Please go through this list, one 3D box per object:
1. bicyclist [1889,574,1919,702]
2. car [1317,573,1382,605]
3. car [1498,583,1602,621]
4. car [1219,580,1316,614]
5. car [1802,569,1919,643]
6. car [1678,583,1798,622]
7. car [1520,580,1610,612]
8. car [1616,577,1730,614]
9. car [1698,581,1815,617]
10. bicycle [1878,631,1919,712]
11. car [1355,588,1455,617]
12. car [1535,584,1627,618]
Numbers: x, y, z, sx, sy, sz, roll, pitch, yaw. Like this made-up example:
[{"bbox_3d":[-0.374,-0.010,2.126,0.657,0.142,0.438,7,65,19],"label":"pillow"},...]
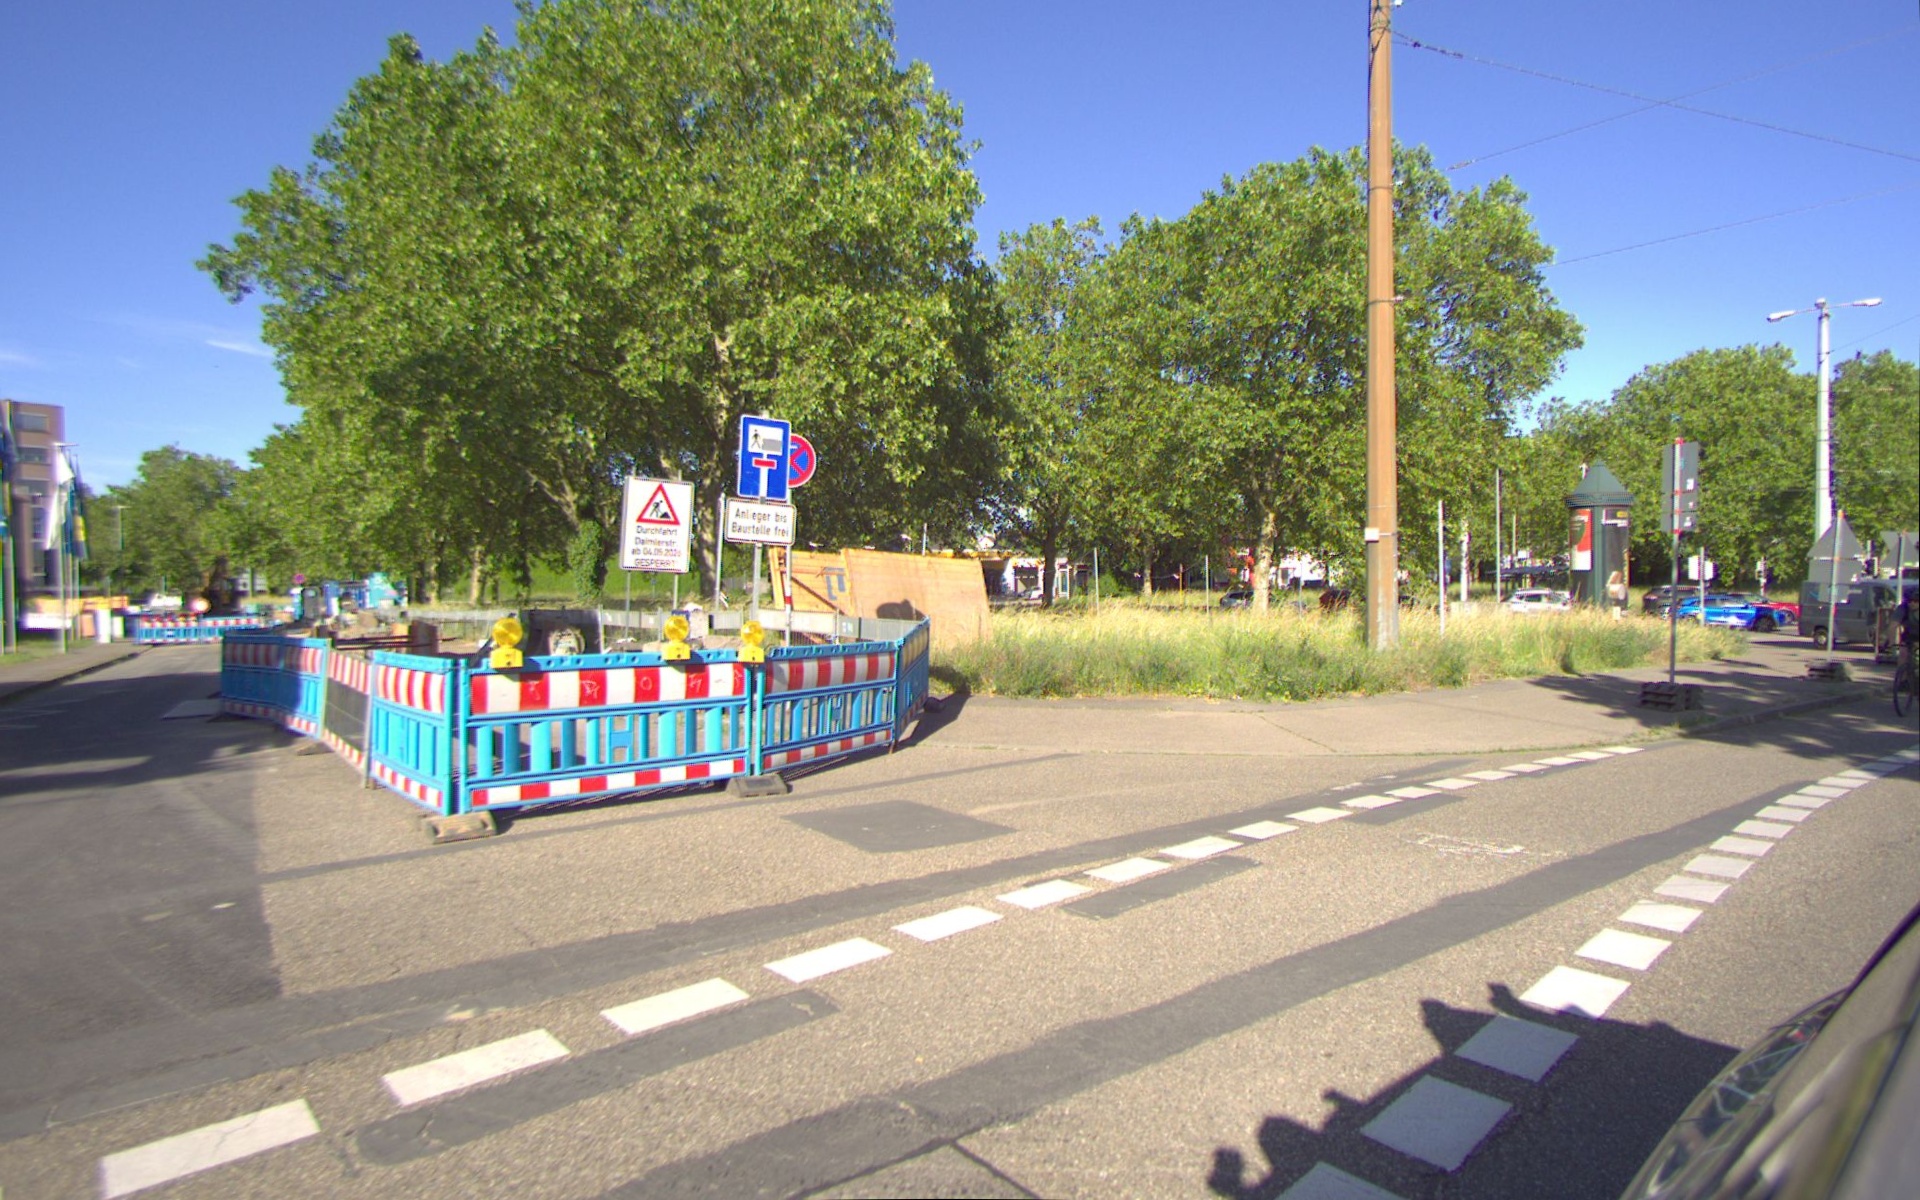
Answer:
[{"bbox_3d":[13.176,0.500,13.742,0.915,1.700,0.617,-1,2,-35],"label":"bicyclist"},{"bbox_3d":[21.341,-0.625,55.398,3.180,1.635,1.360,1,5,29],"label":"car"},{"bbox_3d":[27.617,0.075,47.513,4.137,1.699,1.915,1,1,29],"label":"car"},{"bbox_3d":[16.650,-0.173,54.907,4.734,1.703,1.890,-1,1,30],"label":"car"},{"bbox_3d":[28.237,0.118,30.161,2.091,2.096,5.118,0,1,2],"label":"car"},{"bbox_3d":[33.475,0.099,43.679,3.822,1.620,1.697,0,1,27],"label":"car"},{"bbox_3d":[31.647,-0.229,53.047,3.965,1.638,1.979,1,1,30],"label":"car"},{"bbox_3d":[35.749,-0.269,50.880,4.455,1.732,1.902,1,2,29],"label":"car"},{"bbox_3d":[36.603,-0.064,46.665,4.059,1.620,1.795,0,1,33],"label":"car"},{"bbox_3d":[13.014,0.931,13.591,2.049,0.934,0.526,-2,2,-34],"label":"bicycle"},{"bbox_3d":[22.517,0.114,51.209,4.529,1.425,1.915,0,1,29],"label":"car"},{"bbox_3d":[30.764,0.025,50.193,3.831,1.620,1.693,1,1,33],"label":"car"}]
